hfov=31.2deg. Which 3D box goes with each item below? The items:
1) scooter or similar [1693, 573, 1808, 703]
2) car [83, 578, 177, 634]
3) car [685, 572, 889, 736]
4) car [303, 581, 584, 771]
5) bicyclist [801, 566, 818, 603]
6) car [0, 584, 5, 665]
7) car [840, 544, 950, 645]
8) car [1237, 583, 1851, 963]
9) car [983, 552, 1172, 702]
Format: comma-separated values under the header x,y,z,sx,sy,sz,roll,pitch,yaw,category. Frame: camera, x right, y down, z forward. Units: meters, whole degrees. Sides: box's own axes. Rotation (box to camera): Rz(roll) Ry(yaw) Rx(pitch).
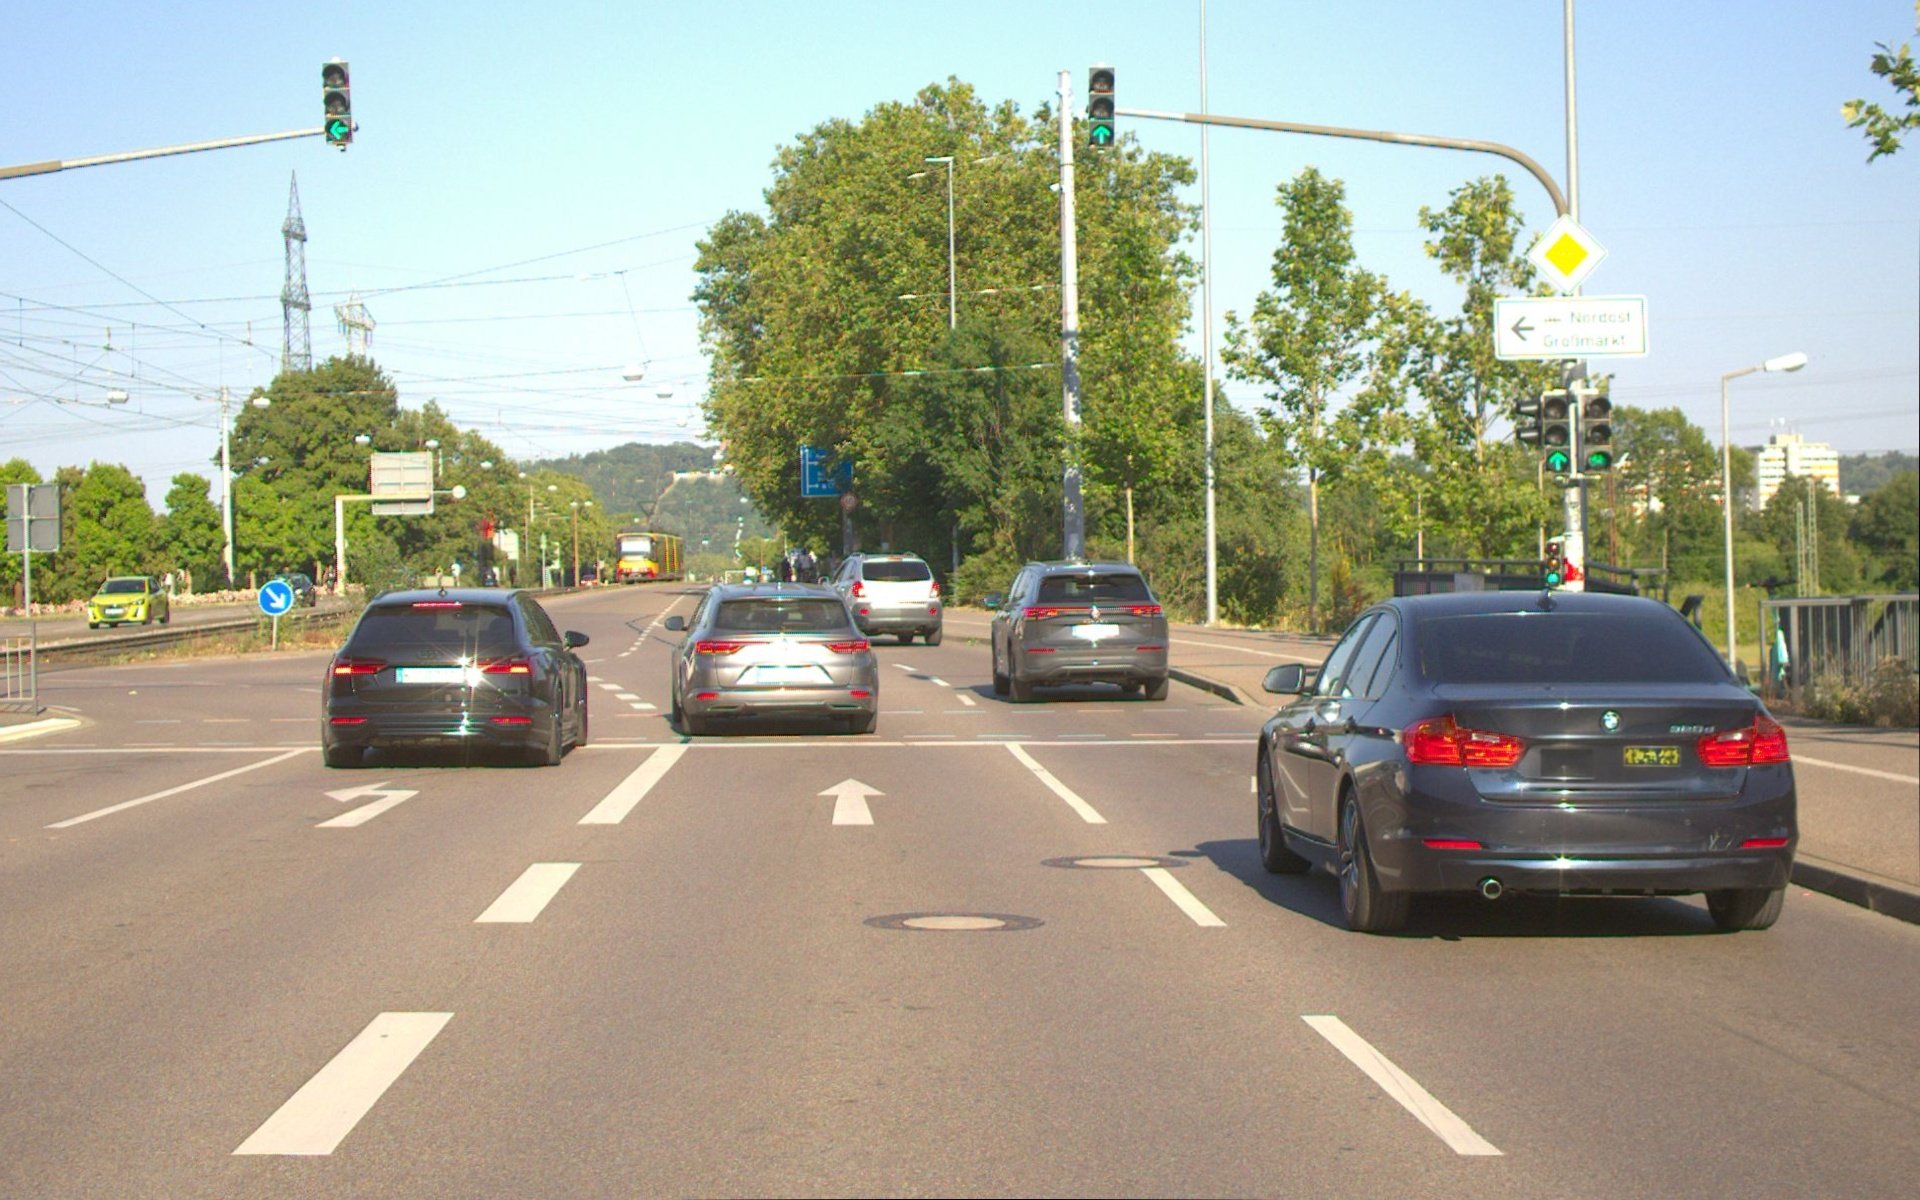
x,y,z,sx,sy,sz,roll,pitch,yaw,category
7.678,0.364,33.439,0.523,1.226,1.267,-2,0,-15,scooter or similar
-23.830,0.156,98.811,1.783,1.442,4.108,-3,1,-2,car
-1.726,0.477,33.891,1.865,1.462,4.667,0,1,-3,car
-4.226,0.575,28.709,1.915,1.453,4.092,0,0,-3,car
-6.278,-0.657,143.190,0.685,1.503,0.891,-1,1,-3,bicyclist
-16.276,0.370,51.058,3.577,1.455,1.770,-4,0,17,car
-1.262,-0.132,64.928,1.883,1.789,4.001,1,1,-3,car
2.445,0.657,15.585,1.866,1.462,4.586,0,0,-2,car
1.333,0.272,40.751,1.844,1.655,4.440,0,1,-3,car
